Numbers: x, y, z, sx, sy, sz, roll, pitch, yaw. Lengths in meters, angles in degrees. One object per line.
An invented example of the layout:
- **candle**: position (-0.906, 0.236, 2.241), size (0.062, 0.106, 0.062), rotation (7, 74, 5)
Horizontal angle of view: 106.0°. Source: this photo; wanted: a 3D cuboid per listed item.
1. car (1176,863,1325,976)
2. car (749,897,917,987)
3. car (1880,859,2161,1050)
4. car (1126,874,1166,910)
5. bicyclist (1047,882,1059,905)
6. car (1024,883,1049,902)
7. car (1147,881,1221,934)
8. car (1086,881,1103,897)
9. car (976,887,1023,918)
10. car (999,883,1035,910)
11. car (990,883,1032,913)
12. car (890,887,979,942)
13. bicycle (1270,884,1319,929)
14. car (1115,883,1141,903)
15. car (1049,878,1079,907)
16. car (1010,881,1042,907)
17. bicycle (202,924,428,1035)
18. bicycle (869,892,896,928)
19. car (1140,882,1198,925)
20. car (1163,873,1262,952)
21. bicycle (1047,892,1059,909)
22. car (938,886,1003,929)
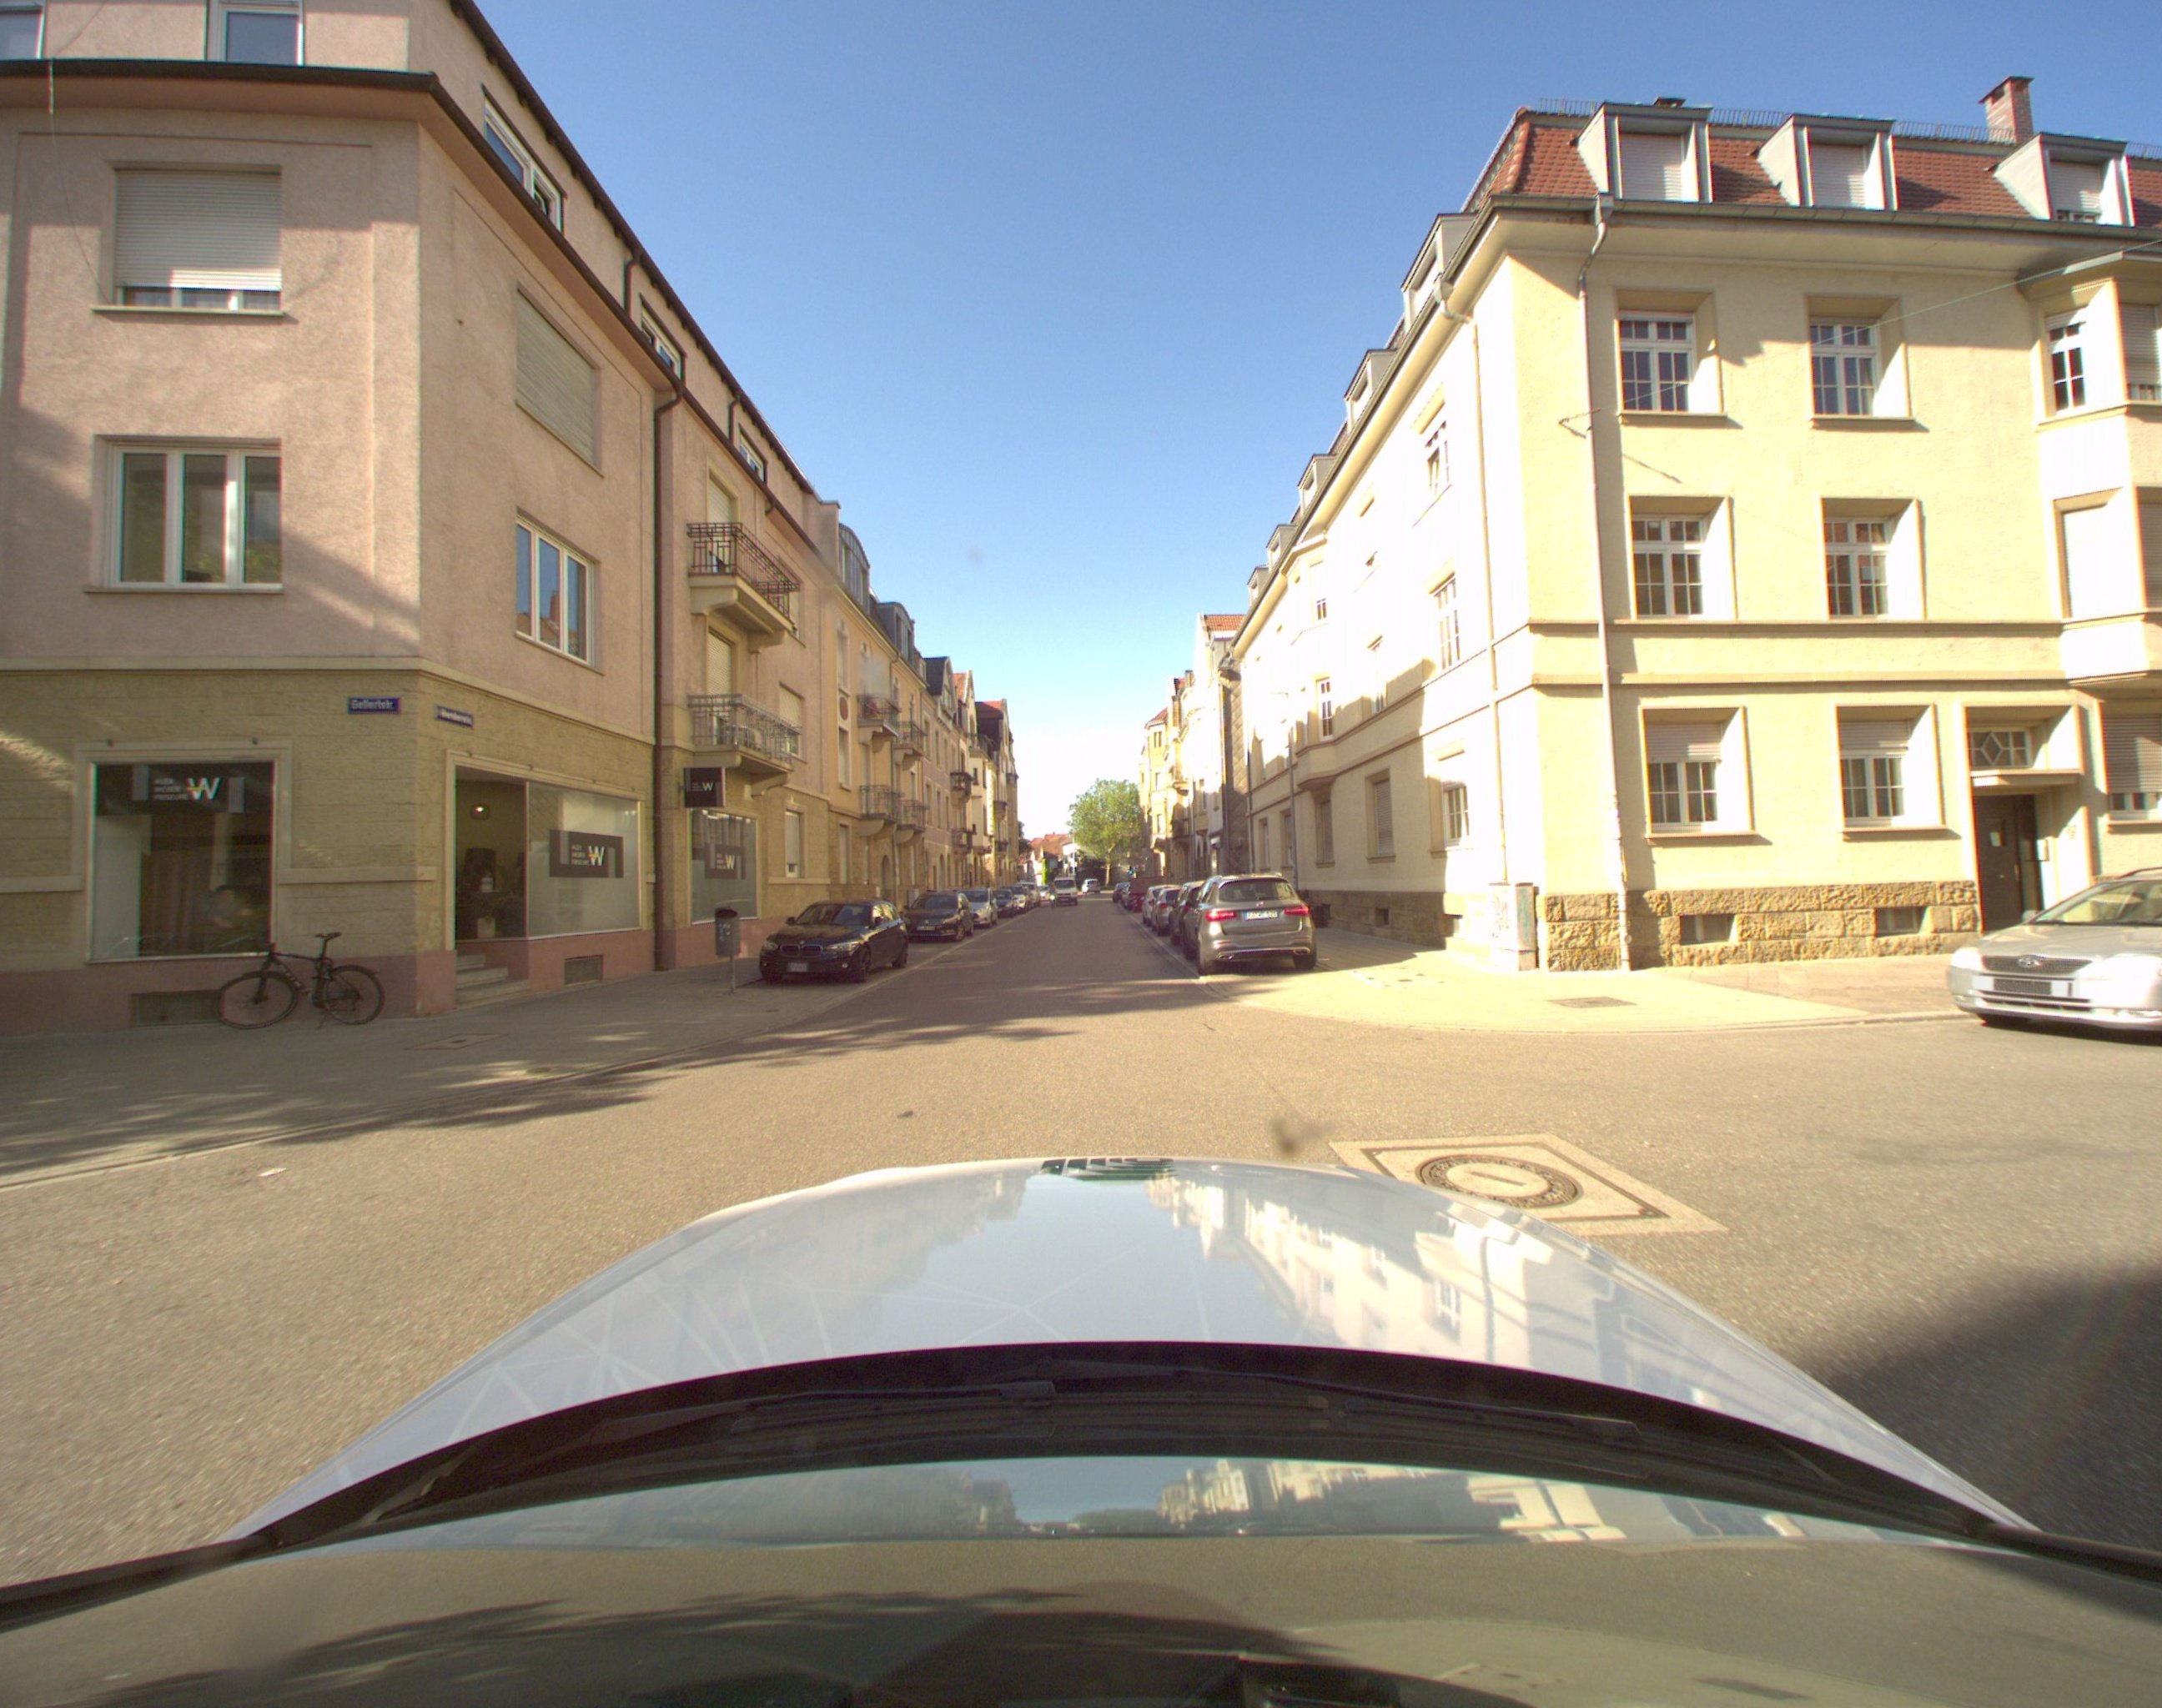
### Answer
- **car**: position (2.900, 1.159, 15.032), size (1.905, 1.645, 4.775), rotation (-3, -4, 3)
- **car**: position (-4.479, 1.542, 15.423), size (1.673, 1.427, 4.275), rotation (0, -3, 2)
- **car**: position (10.428, 0.784, 7.524), size (4.532, 1.468, 1.824), rotation (-2, -4, -7)
- **car**: position (3.453, 2.070, 43.892), size (1.832, 1.787, 4.028), rotation (-2, -4, 1)
- **bicyclist**: position (-1.767, 2.505, 51.521), size (0.660, 1.386, 0.753), rotation (-3, -3, -1)
- **car**: position (-3.965, 3.449, 73.146), size (1.997, 1.606, 4.485), rotation (0, -3, 0)
- **car**: position (3.156, 1.687, 25.705), size (1.832, 1.432, 4.028), rotation (-3, -4, 1)
- **car**: position (1.658, 4.262, 98.341), size (1.997, 1.914, 4.486), rotation (0, -3, 1)
- **car**: position (-4.167, 2.474, 42.101), size (1.972, 1.483, 4.326), rotation (0, -3, 0)
- **car**: position (-4.064, 2.713, 52.310), size (1.997, 1.619, 4.485), rotation (0, -3, 0)
- **car**: position (-3.968, 2.525, 46.809), size (1.997, 1.619, 4.485), rotation (0, -3, 0)
- **car**: position (-4.509, 1.868, 25.800), size (1.997, 1.582, 4.485), rotation (0, -3, 0)
- **bicycle**: position (6.359, 1.522, 24.391), size (0.759, 1.247, 2.591), rotation (-2, -2, 1)
- **car**: position (3.575, 3.029, 62.689), size (1.832, 1.432, 4.028), rotation (-3, -4, 1)
- **car**: position (-1.181, 2.792, 58.615), size (1.997, 2.000, 4.485), rotation (0, -3, 0)
- **car**: position (-3.876, 2.845, 57.887), size (1.997, 1.788, 4.485), rotation (0, -3, 0)
- **bicycle**: position (-8.942, 1.446, 9.570), size (1.896, 1.135, 0.646), rotation (-1, -1, -7)
- **bicycle**: position (-7.572, 2.103, 31.111), size (0.539, 1.302, 1.867), rotation (-1, -2, 2)
- **car**: position (3.284, 1.892, 31.091), size (1.832, 1.432, 4.028), rotation (-3, -4, 1)
- **car**: position (3.055, 1.391, 19.647), size (1.739, 1.608, 4.028), rotation (-3, -4, 1)
- **bicycle**: position (-1.753, 2.939, 51.482), size (0.660, 1.019, 2.065), rotation (-3, -3, 0)
- **car**: position (-4.419, 2.134, 33.181), size (1.997, 1.619, 4.485), rotation (0, -3, 0)
